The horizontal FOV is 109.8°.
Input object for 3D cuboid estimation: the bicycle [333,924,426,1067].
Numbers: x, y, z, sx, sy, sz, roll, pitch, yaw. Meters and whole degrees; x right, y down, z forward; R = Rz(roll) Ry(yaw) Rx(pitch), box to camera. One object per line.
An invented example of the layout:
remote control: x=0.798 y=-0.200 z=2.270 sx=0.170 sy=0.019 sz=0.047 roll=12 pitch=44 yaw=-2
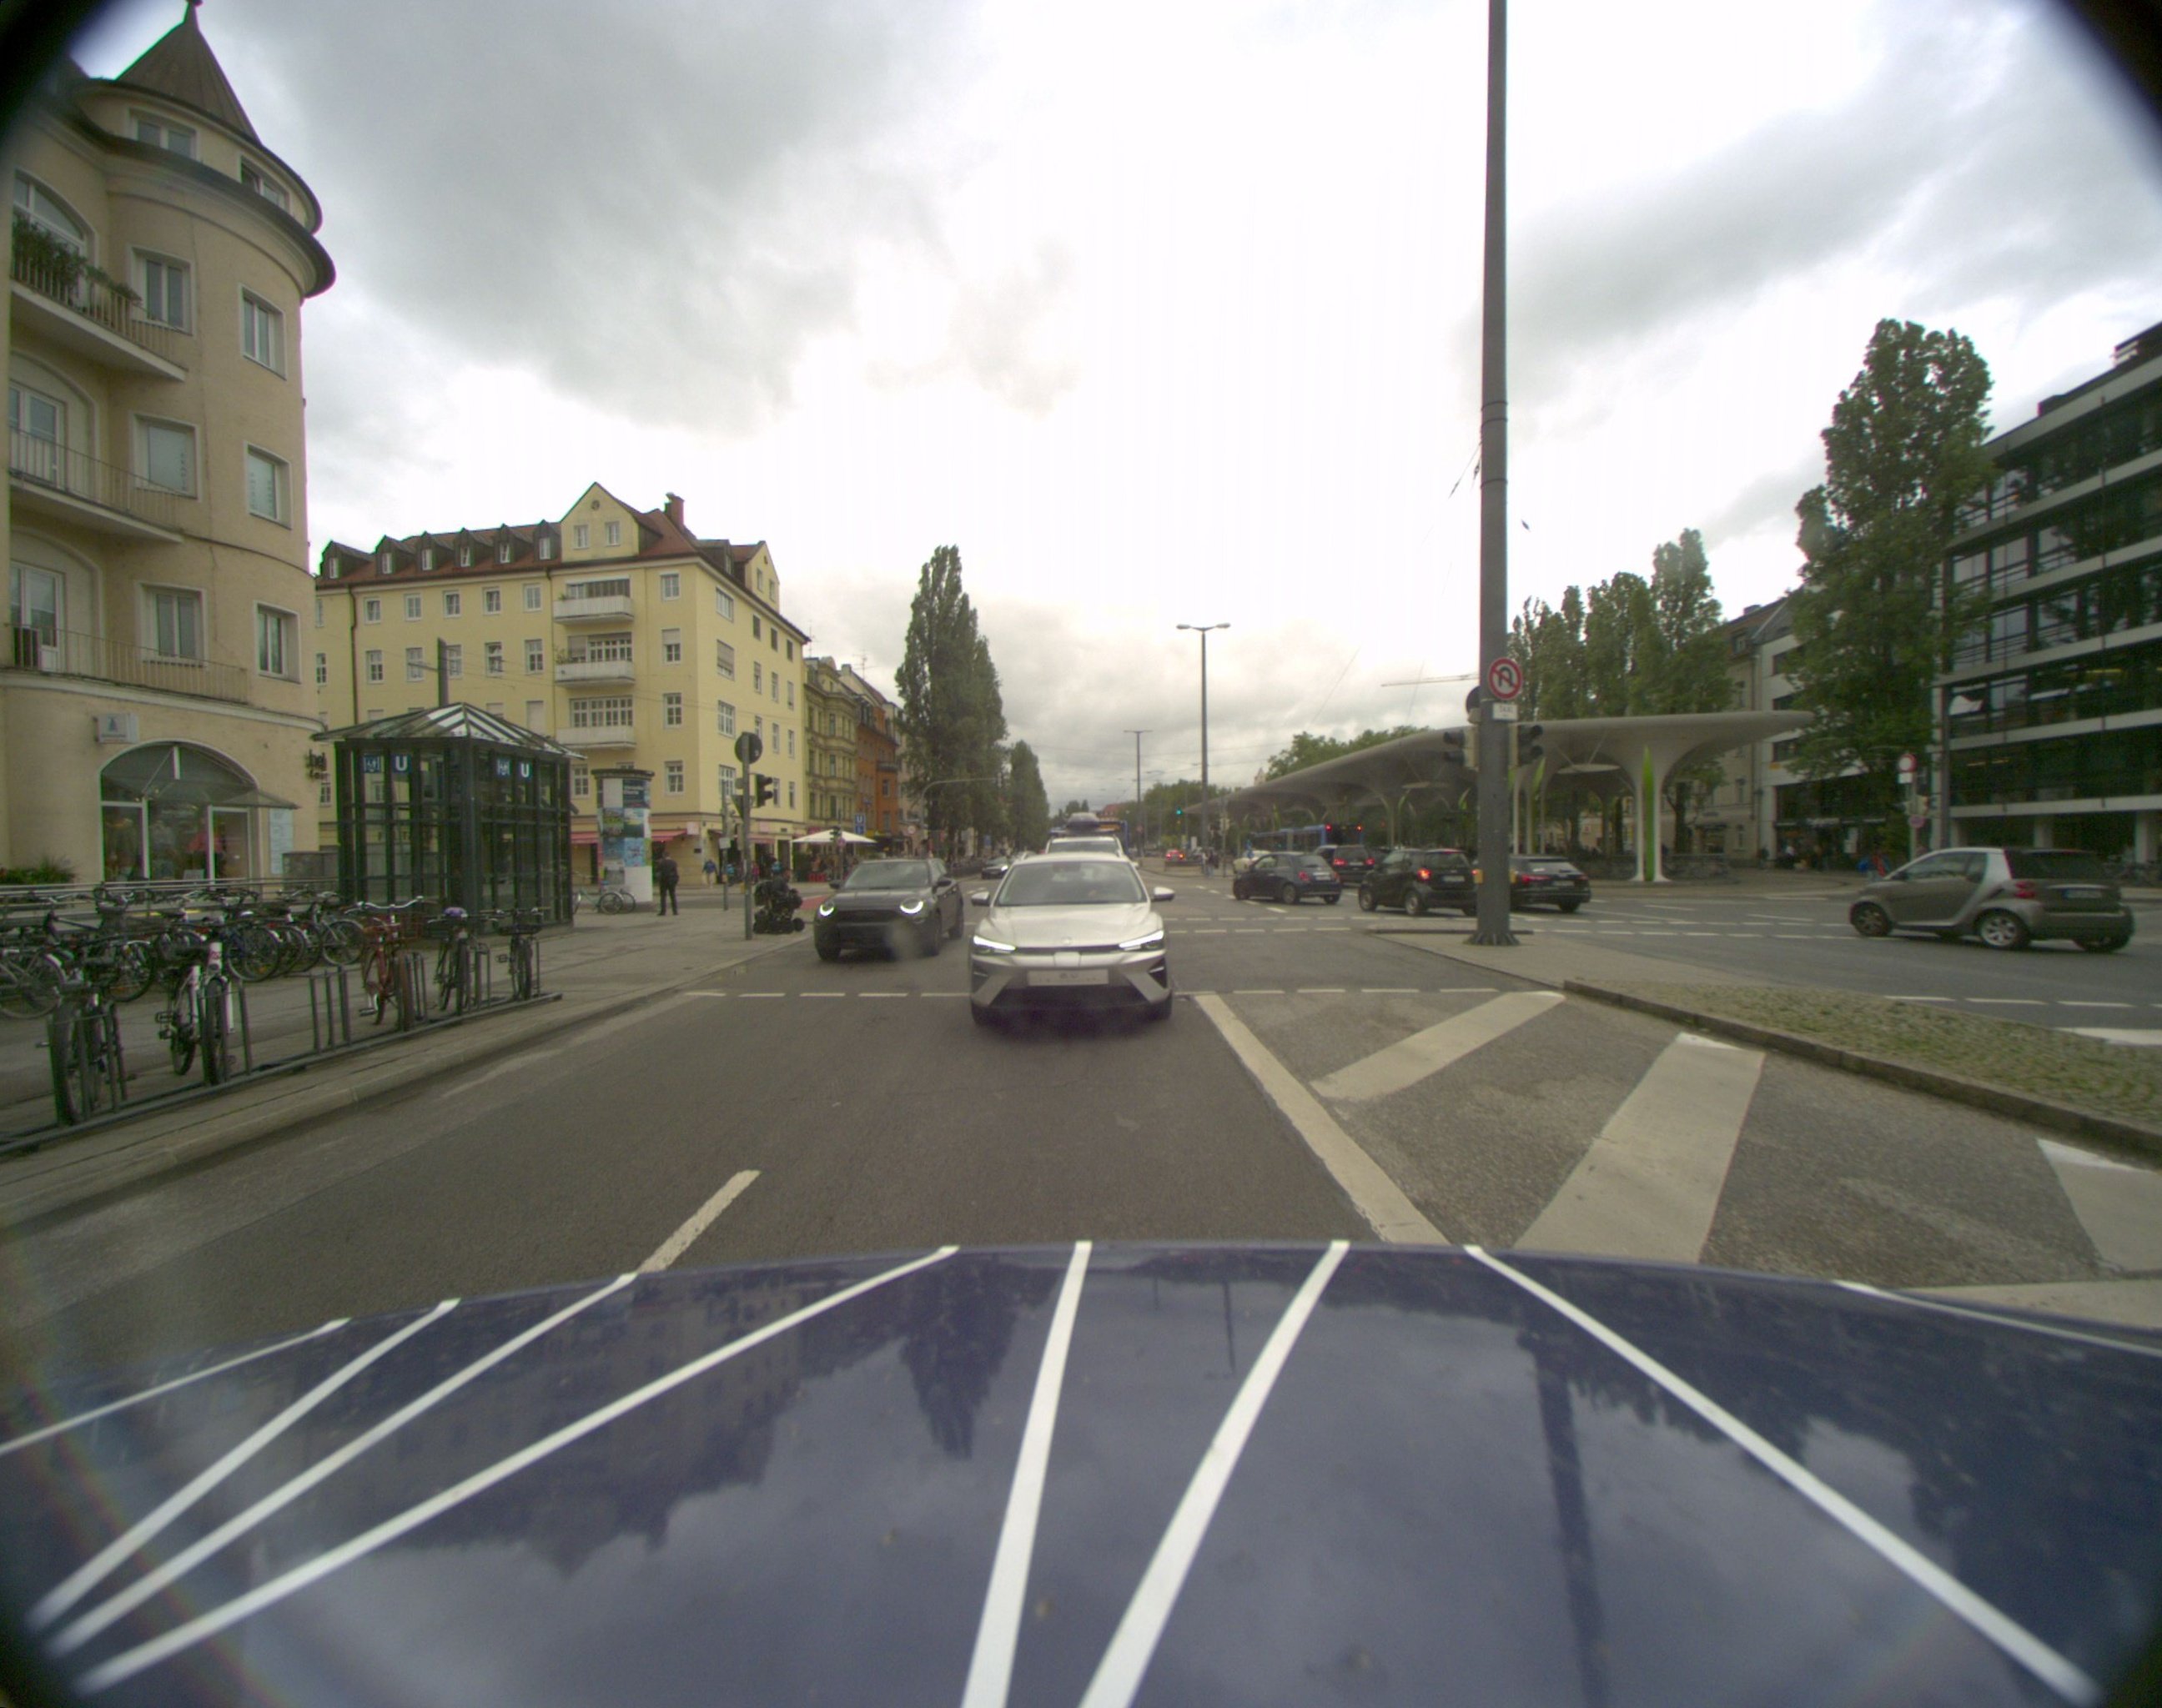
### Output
bicycle: x=-6.092 y=1.152 z=6.563 sx=1.848 sy=1.053 sz=0.398 roll=-5 pitch=-1 yaw=43

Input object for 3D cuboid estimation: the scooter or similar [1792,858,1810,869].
scooter or similar: x=46.534 y=0.599 z=49.108 sx=0.519 sy=0.711 sz=0.681 roll=0 pitch=1 yaw=11

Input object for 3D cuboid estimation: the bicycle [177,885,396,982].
bicycle: x=-10.614 y=1.047 z=10.187 sx=2.317 sy=1.220 sz=0.628 roll=-1 pitch=1 yaw=2

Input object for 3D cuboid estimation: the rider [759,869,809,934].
rider: x=-5.999 y=0.945 z=15.377 sx=0.732 sy=1.234 sz=0.732 roll=1 pitch=2 yaw=-3

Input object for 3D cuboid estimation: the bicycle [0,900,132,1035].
bicycle: x=-10.838 y=1.089 z=7.456 sx=2.330 sy=1.220 sz=0.628 roll=-1 pitch=1 yaw=2

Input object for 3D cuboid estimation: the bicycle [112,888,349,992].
bicycle: x=-10.618 y=1.060 z=9.524 sx=2.317 sy=1.220 sz=0.628 roll=-1 pitch=1 yaw=2

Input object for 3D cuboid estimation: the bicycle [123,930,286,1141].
bicycle: x=-5.972 y=1.136 z=5.150 sx=1.780 sy=1.131 sz=0.479 roll=-1 pitch=1 yaw=34

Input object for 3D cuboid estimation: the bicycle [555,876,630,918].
bicycle: x=-13.370 y=1.162 z=20.796 sx=1.822 sy=1.121 sz=0.610 roll=0 pitch=0 yaw=12

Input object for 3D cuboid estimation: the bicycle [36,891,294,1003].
bicycle: x=-10.676 y=1.074 z=8.891 sx=2.317 sy=1.220 sz=0.628 roll=-1 pitch=1 yaw=2

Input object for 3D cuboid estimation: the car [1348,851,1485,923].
car: x=7.730 y=0.689 z=17.730 sx=1.562 sy=1.498 sz=2.785 roll=-1 pitch=1 yaw=-13

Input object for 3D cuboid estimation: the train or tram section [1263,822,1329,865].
train or tram section: x=15.973 y=-0.744 z=56.951 sx=2.840 sy=2.983 sz=7.406 roll=-1 pitch=1 yaw=0

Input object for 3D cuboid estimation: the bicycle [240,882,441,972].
bicycle: x=-10.593 y=1.033 z=10.905 sx=2.317 sy=1.220 sz=0.628 roll=-1 pitch=1 yaw=2

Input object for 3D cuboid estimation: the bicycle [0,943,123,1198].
bicycle: x=-5.947 y=1.150 z=4.361 sx=1.673 sy=1.131 sz=0.479 roll=-1 pitch=1 yaw=39

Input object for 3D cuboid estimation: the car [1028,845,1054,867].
car: x=-3.426 y=0.158 z=65.735 sx=1.998 sy=1.740 sz=3.999 roll=-2 pitch=1 yaw=0

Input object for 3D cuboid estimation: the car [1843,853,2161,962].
car: x=14.232 y=0.744 z=11.980 sx=1.674 sy=1.506 sz=2.747 roll=0 pitch=1 yaw=1

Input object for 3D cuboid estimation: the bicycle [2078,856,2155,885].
bicycle: x=40.848 y=0.645 z=29.981 sx=2.073 sy=1.127 sz=0.561 roll=0 pitch=1 yaw=6

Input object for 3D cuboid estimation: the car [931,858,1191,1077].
car: x=-0.111 y=0.872 z=7.705 sx=1.896 sy=1.483 sz=3.999 roll=-2 pitch=1 yaw=1

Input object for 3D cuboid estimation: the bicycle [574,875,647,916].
bicycle: x=-13.278 y=1.146 z=21.444 sx=1.822 sy=1.121 sz=0.610 roll=0 pitch=0 yaw=12

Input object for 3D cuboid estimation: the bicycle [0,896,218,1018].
bicycle: x=-10.813 y=1.092 z=8.212 sx=2.317 sy=1.220 sz=0.628 roll=-1 pitch=1 yaw=2

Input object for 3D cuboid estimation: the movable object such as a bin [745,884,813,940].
movable object such as a bin: x=-6.087 y=1.156 z=15.355 sx=1.089 sy=1.056 sz=0.747 roll=1 pitch=2 yaw=-3

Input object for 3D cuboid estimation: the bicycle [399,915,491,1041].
bicycle: x=-6.183 y=1.145 z=7.349 sx=1.848 sy=1.053 sz=0.398 roll=-5 pitch=-1 yaw=43

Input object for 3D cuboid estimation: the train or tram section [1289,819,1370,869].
train or tram section: x=15.990 y=-0.609 z=49.519 sx=2.840 sy=2.983 sz=7.406 roll=-1 pitch=1 yaw=0

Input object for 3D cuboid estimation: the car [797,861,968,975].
car: x=-3.040 y=0.910 z=12.512 sx=1.740 sy=1.462 sz=4.050 roll=-1 pitch=1 yaw=0

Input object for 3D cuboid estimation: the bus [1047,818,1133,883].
bus: x=0.172 y=-0.246 z=40.387 sx=2.943 sy=2.927 sz=11.204 roll=-2 pitch=1 yaw=-7

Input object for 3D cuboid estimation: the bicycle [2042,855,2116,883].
bicycle: x=40.930 y=0.619 z=31.168 sx=2.073 sy=1.127 sz=0.561 roll=0 pitch=1 yaw=6

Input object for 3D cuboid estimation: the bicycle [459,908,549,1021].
bicycle: x=-6.148 y=1.130 z=8.058 sx=1.848 sy=1.053 sz=0.398 roll=-5 pitch=-1 yaw=43

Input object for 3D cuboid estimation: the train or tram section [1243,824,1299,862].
train or tram section: x=15.959 y=-0.881 z=64.373 sx=2.840 sy=2.983 sz=7.406 roll=-1 pitch=1 yaw=0

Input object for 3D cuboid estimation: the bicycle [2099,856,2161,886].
bicycle: x=40.794 y=0.659 z=29.313 sx=2.073 sy=1.127 sz=0.561 roll=0 pitch=1 yaw=6

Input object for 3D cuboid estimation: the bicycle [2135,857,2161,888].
bicycle: x=40.548 y=0.691 z=28.111 sx=2.073 sy=1.127 sz=0.561 roll=0 pitch=1 yaw=6

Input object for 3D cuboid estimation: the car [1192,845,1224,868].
car: x=9.921 y=0.177 z=59.473 sx=1.847 sy=1.674 sz=3.999 roll=-2 pitch=1 yaw=1

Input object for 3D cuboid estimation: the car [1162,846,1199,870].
car: x=6.611 y=0.223 z=50.863 sx=1.922 sy=1.461 sz=3.999 roll=-2 pitch=1 yaw=1

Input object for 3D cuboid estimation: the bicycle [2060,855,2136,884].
bicycle: x=40.892 y=0.632 z=30.564 sx=2.073 sy=1.127 sz=0.561 roll=0 pitch=1 yaw=6

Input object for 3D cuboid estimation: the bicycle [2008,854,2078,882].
bicycle: x=41.014 y=0.592 z=32.400 sx=2.073 sy=1.127 sz=0.561 roll=0 pitch=1 yaw=6

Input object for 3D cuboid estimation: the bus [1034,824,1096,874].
bus: x=-1.286 y=-0.401 z=51.532 sx=2.943 sy=2.927 sz=11.204 roll=-2 pitch=1 yaw=-7

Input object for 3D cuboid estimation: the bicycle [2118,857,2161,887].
bicycle: x=40.718 y=0.674 z=28.701 sx=2.073 sy=1.127 sz=0.561 roll=0 pitch=1 yaw=6

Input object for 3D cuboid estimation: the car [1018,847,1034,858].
car: x=-8.229 y=-0.282 z=113.756 sx=1.998 sy=1.630 sz=3.999 roll=-1 pitch=1 yaw=0

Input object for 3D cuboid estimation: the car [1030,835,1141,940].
car: x=0.103 y=0.586 z=16.304 sx=1.998 sy=1.889 sz=4.234 roll=-2 pitch=1 yaw=0
